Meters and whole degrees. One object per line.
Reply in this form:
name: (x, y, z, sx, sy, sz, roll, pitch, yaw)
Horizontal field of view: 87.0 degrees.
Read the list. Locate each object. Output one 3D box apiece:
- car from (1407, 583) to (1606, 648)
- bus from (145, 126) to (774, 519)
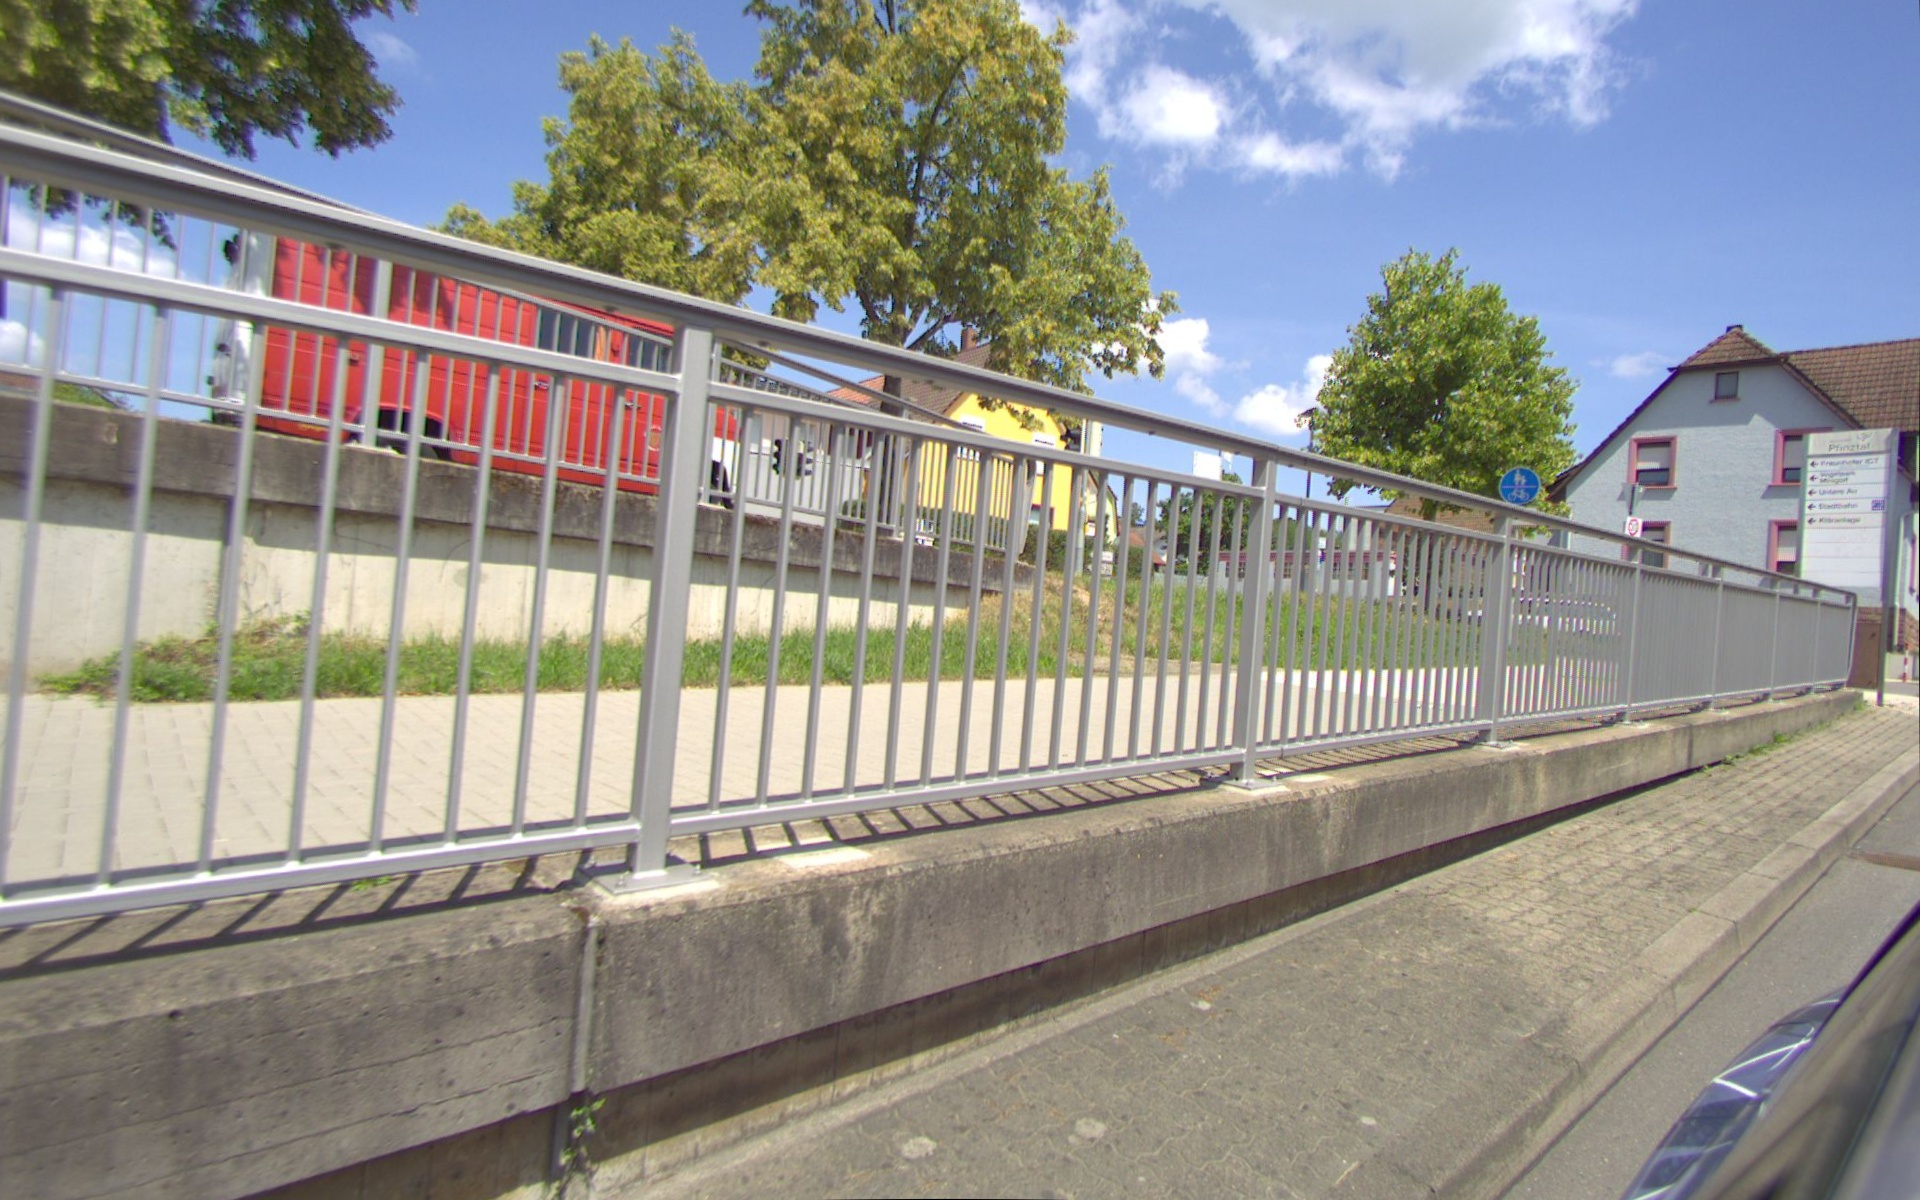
car: (15.871, 0.421, 29.600, 1.653, 1.665, 4.822, 6, -4, -42)
bus: (-4.864, -2.363, 10.448, 5.270, 2.396, 2.192, 6, -1, -42)
